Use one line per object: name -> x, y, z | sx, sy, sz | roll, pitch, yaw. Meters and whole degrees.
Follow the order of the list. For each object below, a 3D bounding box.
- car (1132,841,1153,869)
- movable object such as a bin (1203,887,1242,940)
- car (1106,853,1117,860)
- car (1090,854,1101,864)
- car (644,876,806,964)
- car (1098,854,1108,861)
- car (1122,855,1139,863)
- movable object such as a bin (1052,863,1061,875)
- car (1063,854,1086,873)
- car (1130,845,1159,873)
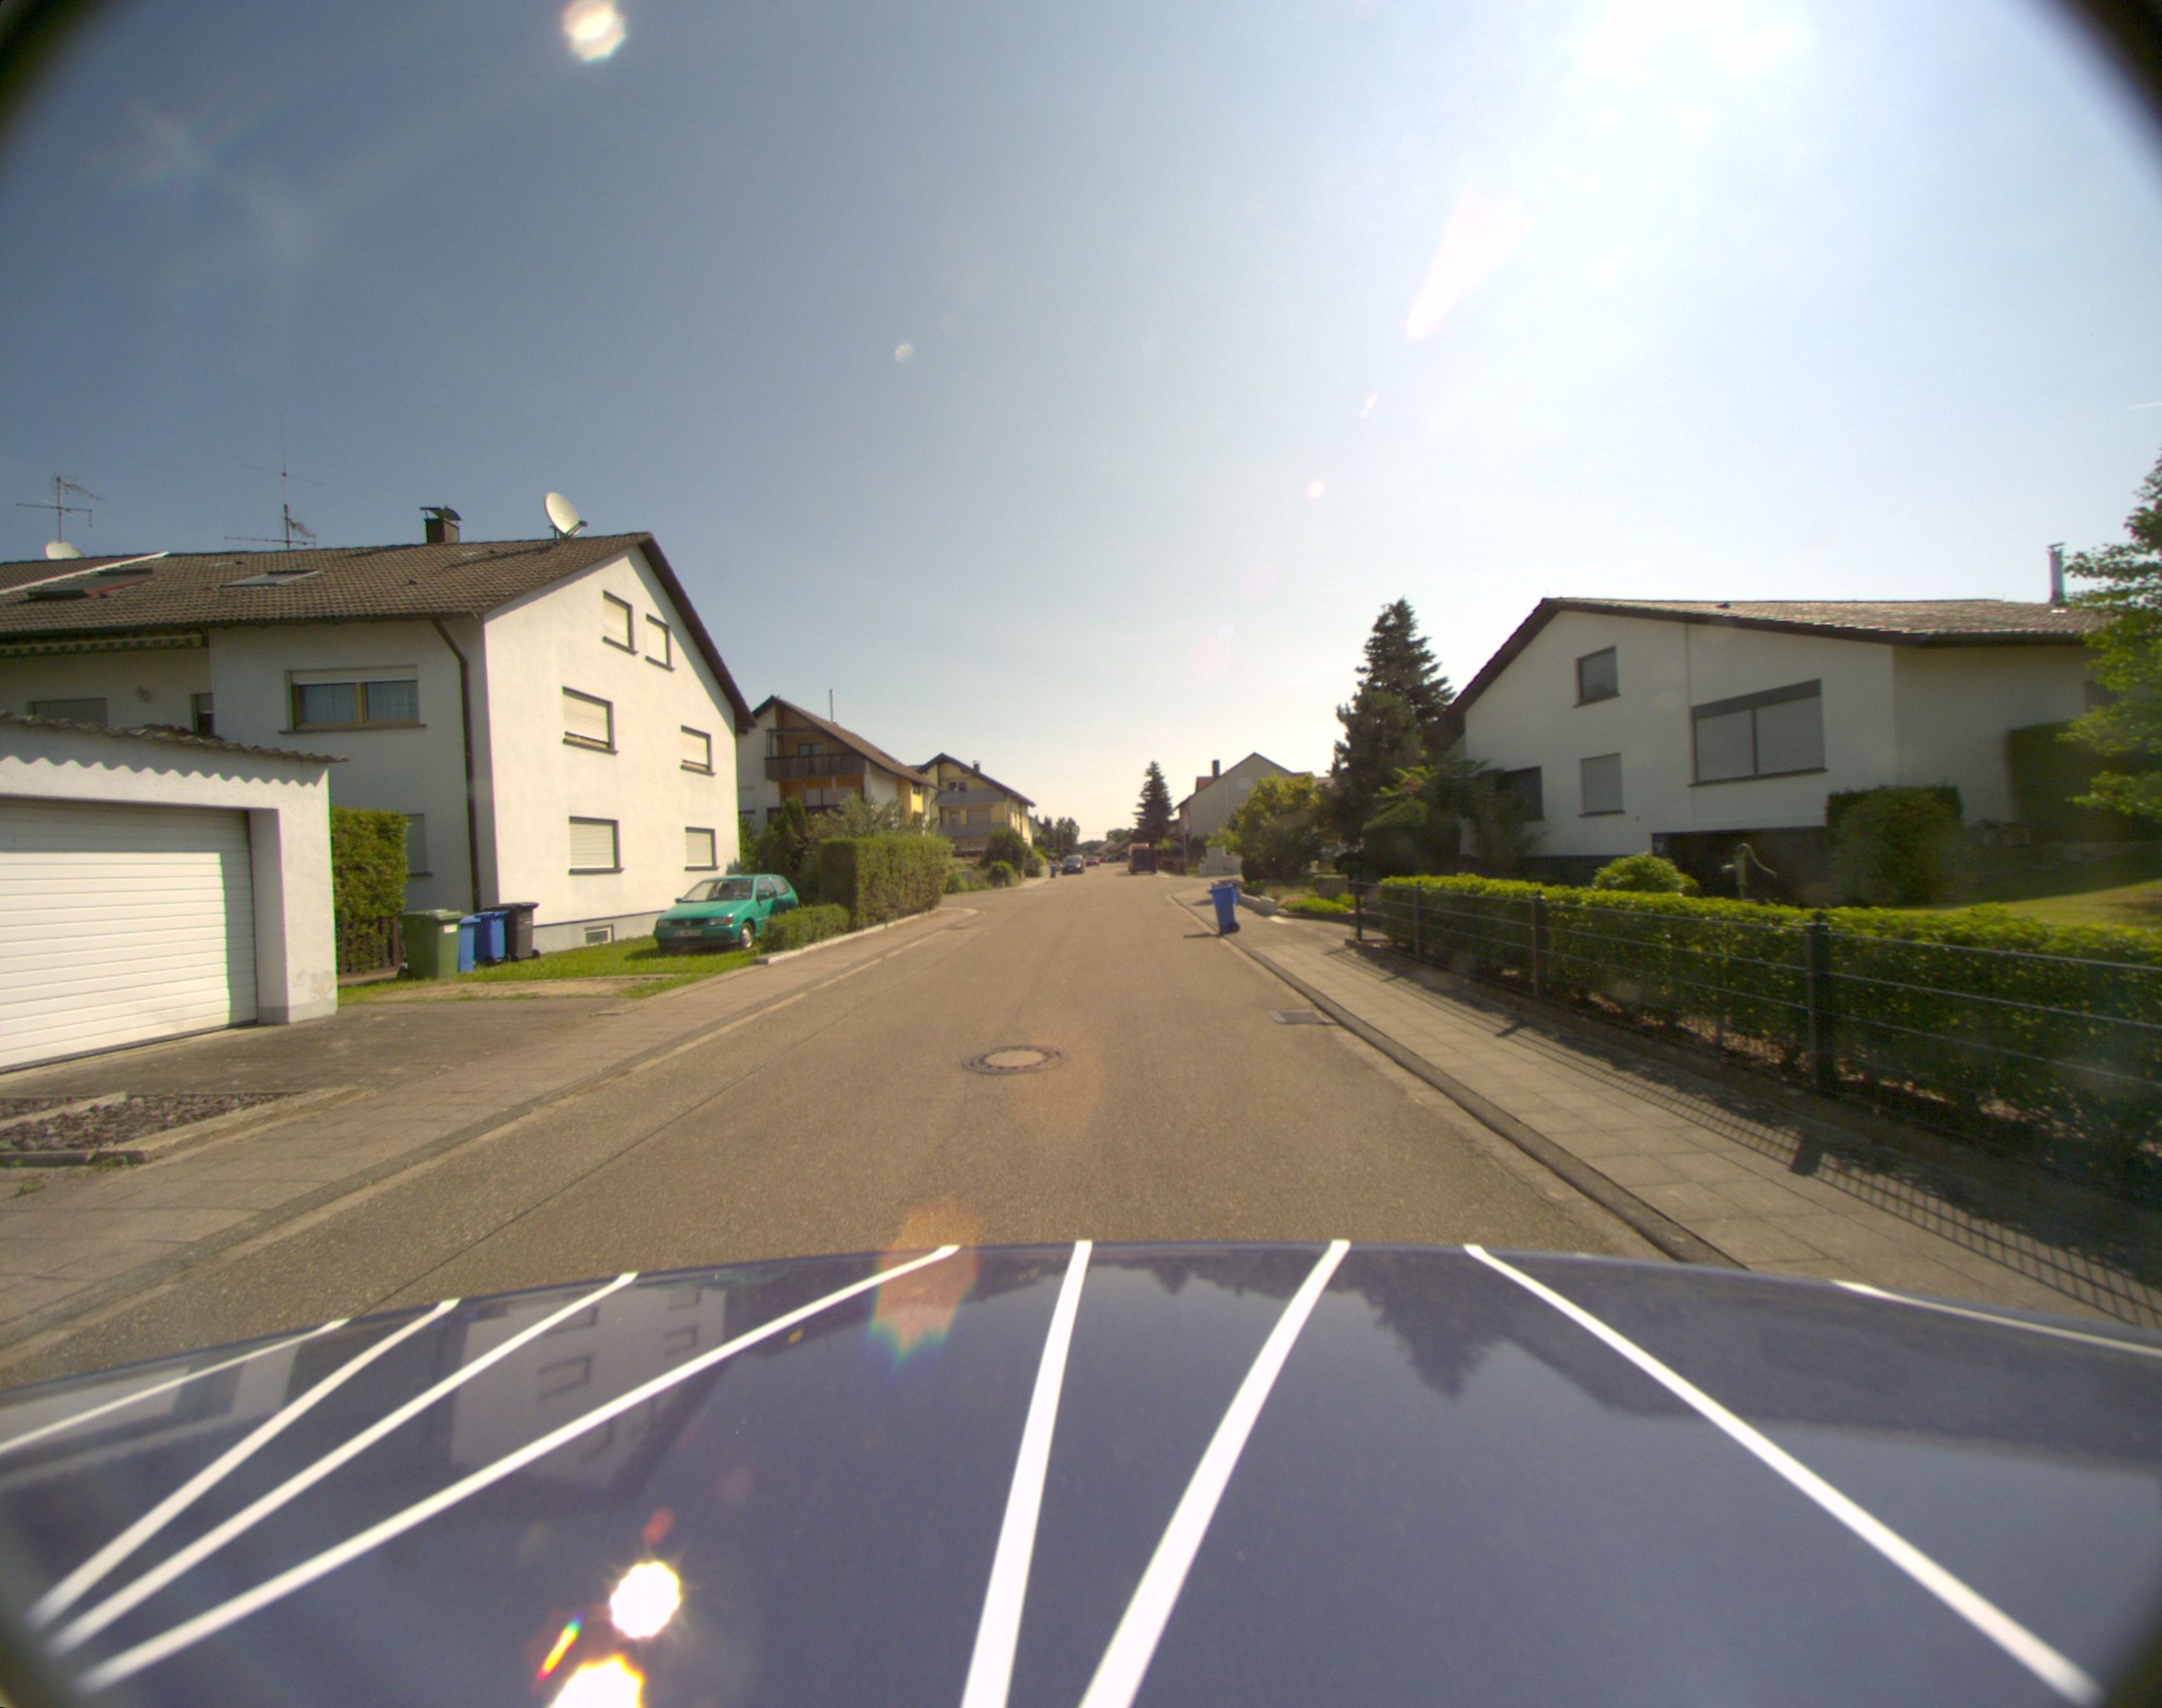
car -> 5.360, 0.045, 66.861 | 1.555, 2.310, 4.204 | -3, 0, 2
movable object such as a bin -> 2.663, 1.112, 14.323 | 0.584, 0.911, 0.598 | -3, 1, 2
car -> 6.499, 0.585, 161.030 | 1.710, 1.332, 3.999 | -3, -1, -5
car -> 2.065, 0.724, 109.701 | 1.517, 1.398, 3.677 | -3, 0, 0
car -> -6.855, 1.206, 15.027 | 1.498, 1.351, 3.526 | -2, 0, 0
car -> 4.957, 0.832, 173.435 | 1.710, 1.332, 3.999 | -3, -1, -5
car -> 11.035, 1.053, 169.813 | 3.413, 1.521, 1.637 | -3, 0, -4
movable object such as a bin -> -1.880, 1.143, 58.027 | 0.584, 0.911, 0.598 | -3, 1, 1
car -> -0.560, 0.832, 67.521 | 1.631, 1.616, 4.001 | -3, 0, 4
car -> 4.784, 0.376, 57.541 | 1.869, 1.927, 4.204 | -3, 0, 2
